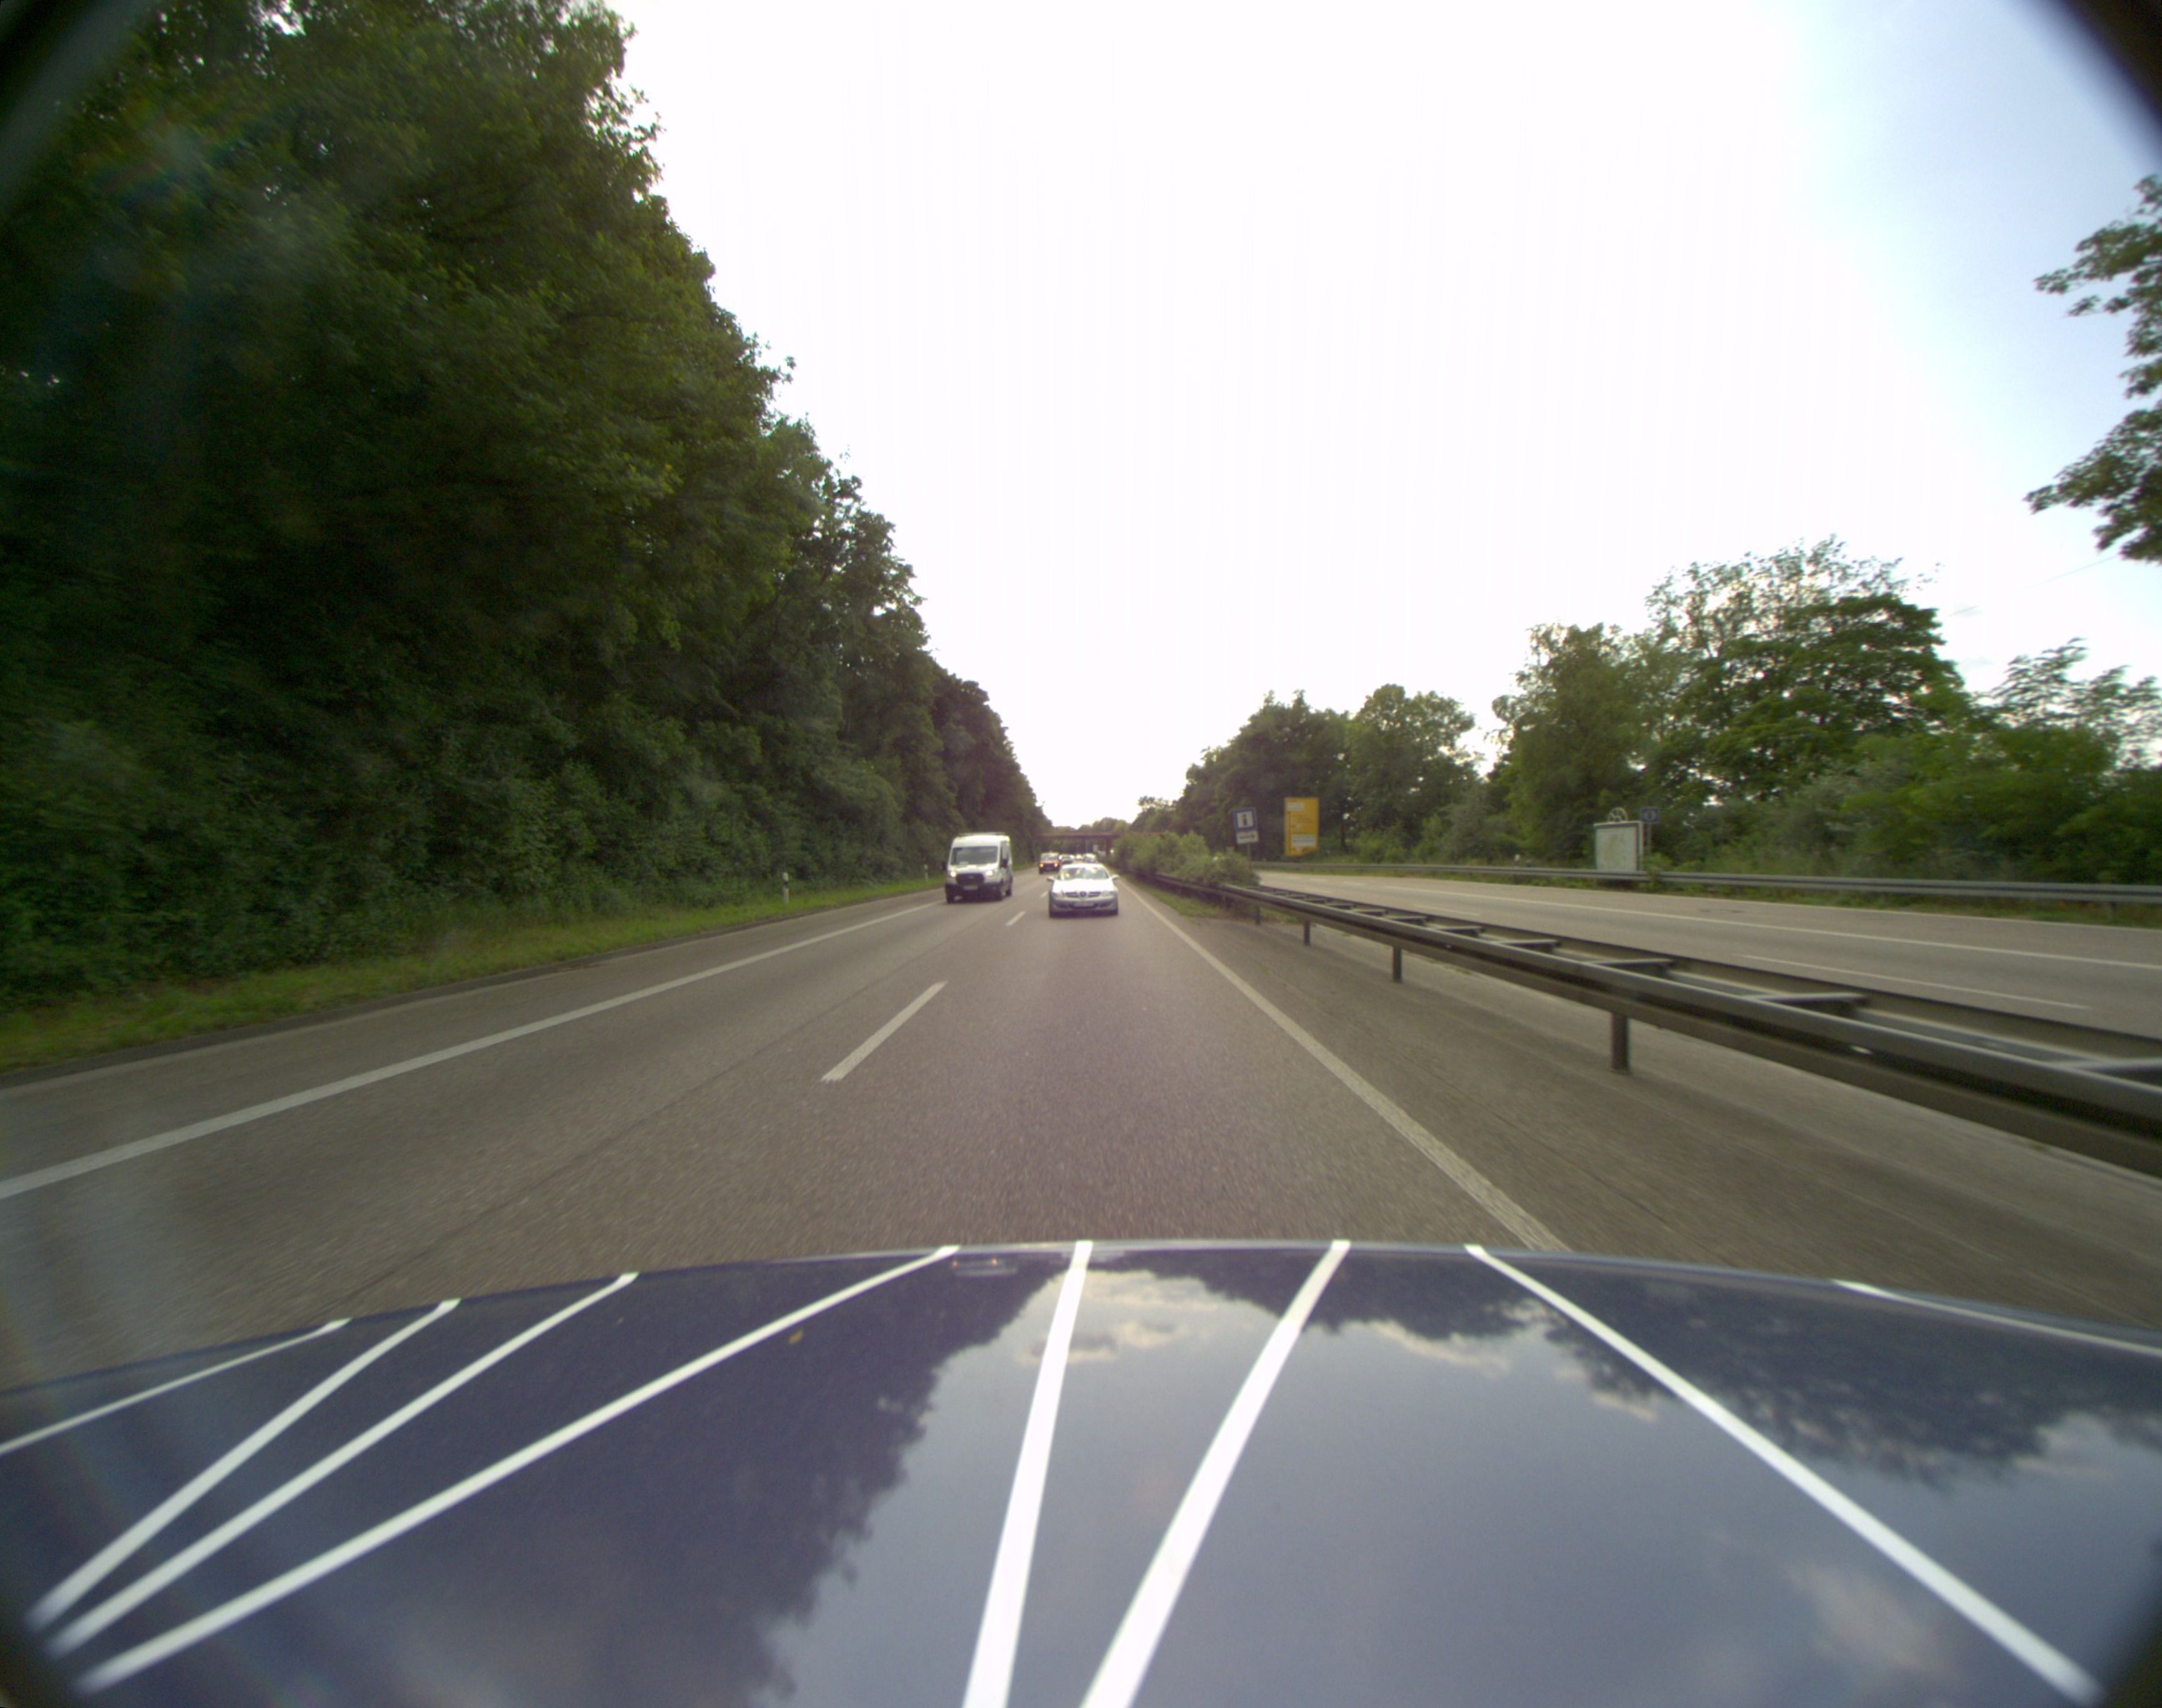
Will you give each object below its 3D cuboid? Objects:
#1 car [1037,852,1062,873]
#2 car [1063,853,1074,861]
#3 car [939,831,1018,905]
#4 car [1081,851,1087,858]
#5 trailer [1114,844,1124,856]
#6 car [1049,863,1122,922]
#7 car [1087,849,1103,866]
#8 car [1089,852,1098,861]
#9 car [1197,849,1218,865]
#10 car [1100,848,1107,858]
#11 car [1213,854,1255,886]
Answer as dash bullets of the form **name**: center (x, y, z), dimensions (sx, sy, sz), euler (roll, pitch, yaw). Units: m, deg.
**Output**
- **car**: center (-2.841, 0.771, 69.710), dimensions (1.908, 1.795, 4.395), euler (-2, 0, 2)
- **car**: center (-2.196, 0.511, 136.437), dimensions (1.889, 1.516, 4.000), euler (-1, 0, 1)
- **car**: center (-3.776, 0.479, 29.005), dimensions (2.104, 2.493, 5.279), euler (-2, 0, 1)
- **car**: center (0.937, 0.067, 236.934), dimensions (1.998, 2.002, 4.000), euler (-1, 0, 1)
- **trailer**: center (12.439, -1.266, 251.044), dimensions (3.067, 4.019, 9.974), euler (-1, 0, 2)
- **car**: center (0.115, 0.982, 21.221), dimensions (1.751, 1.295, 5.223), euler (-2, 0, 0)
- **car**: center (1.712, 0.430, 93.003), dimensions (1.998, 2.002, 4.000), euler (0, 0, 1)
- **car**: center (2.186, 0.438, 128.405), dimensions (1.472, 1.560, 3.295), euler (0, 0, 1)
- **car**: center (14.796, 0.337, 89.262), dimensions (1.867, 1.937, 4.000), euler (0, 0, 1)
- **car**: center (7.620, -0.335, 254.184), dimensions (2.294, 3.214, 7.286), euler (0, 0, 1)
- **car**: center (8.278, 0.844, 41.419), dimensions (1.589, 1.598, 3.532), euler (-1, 0, 1)
